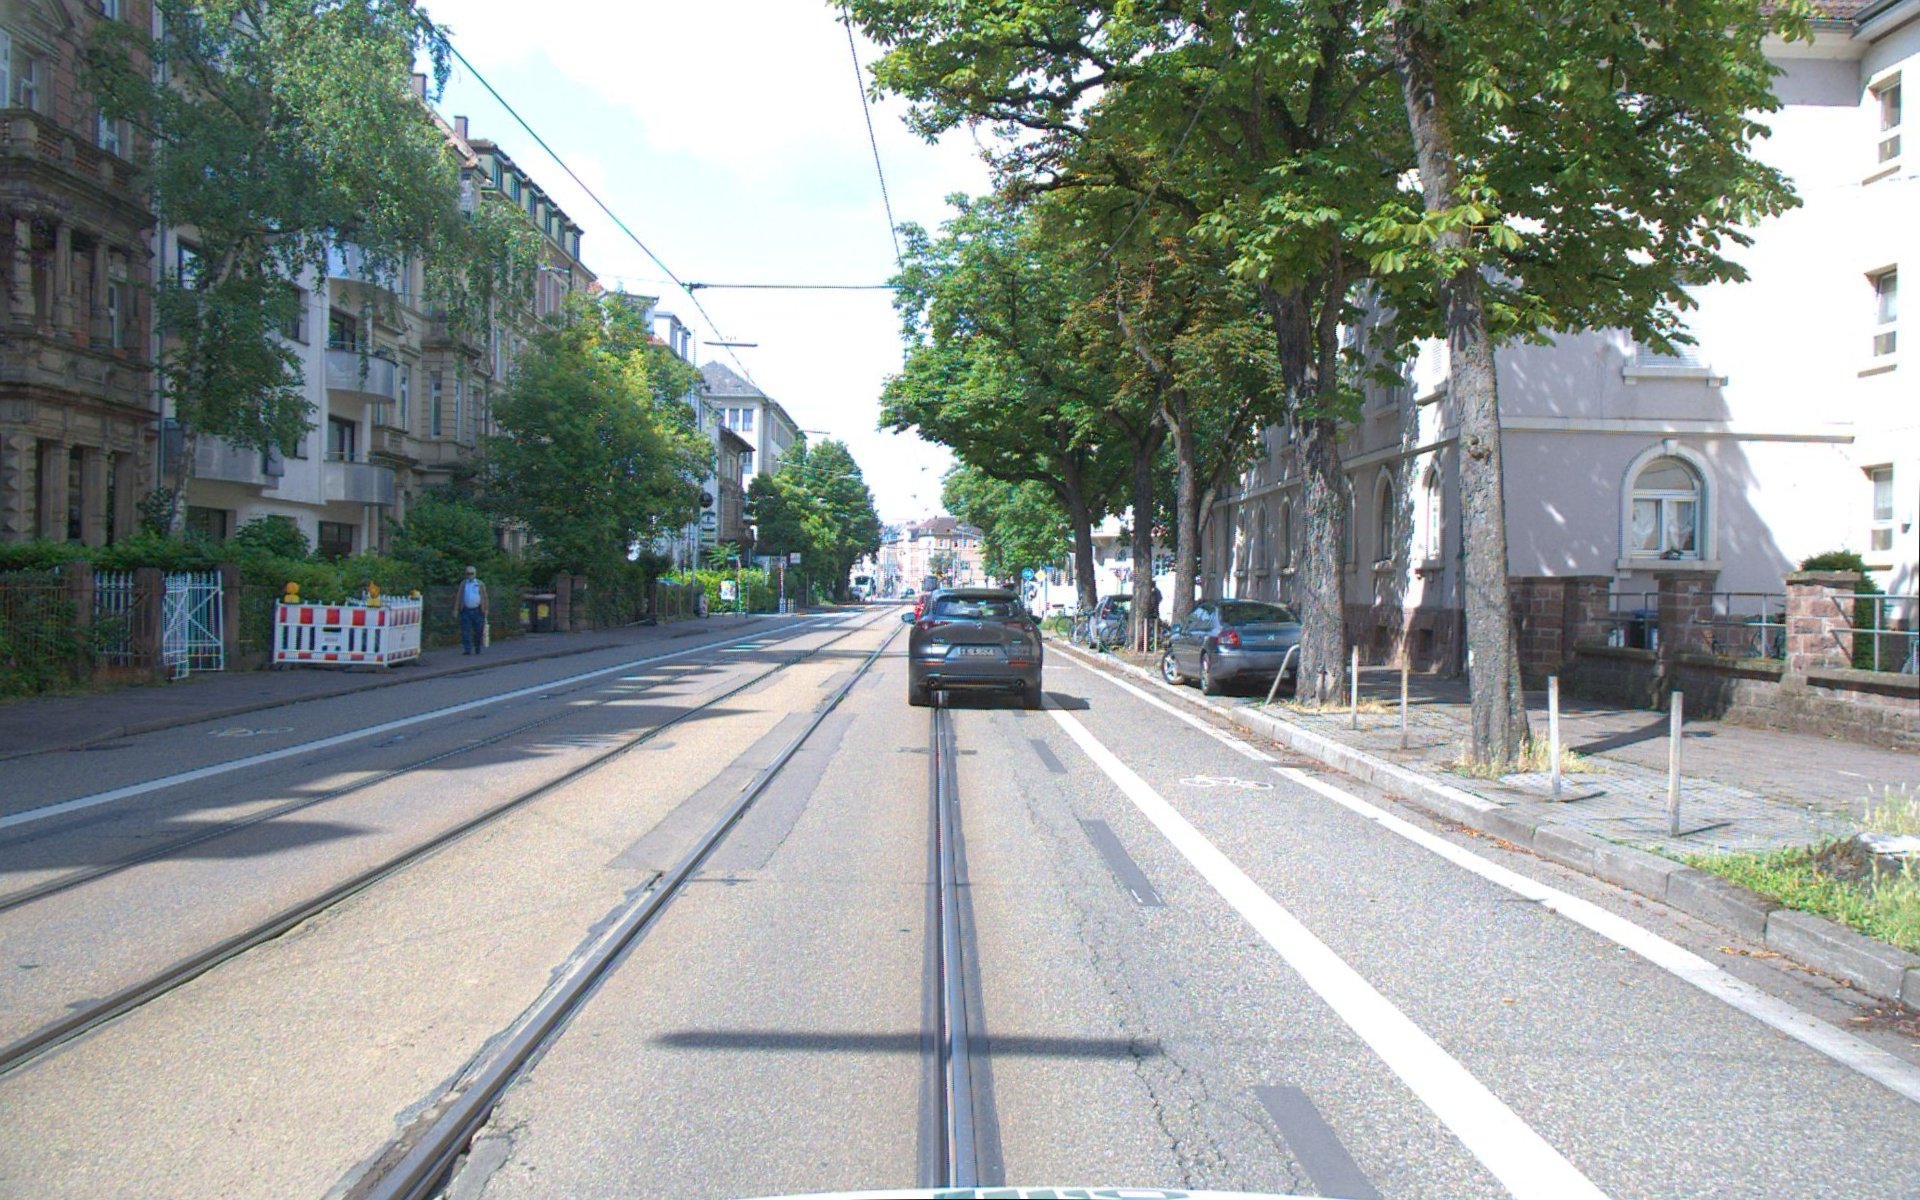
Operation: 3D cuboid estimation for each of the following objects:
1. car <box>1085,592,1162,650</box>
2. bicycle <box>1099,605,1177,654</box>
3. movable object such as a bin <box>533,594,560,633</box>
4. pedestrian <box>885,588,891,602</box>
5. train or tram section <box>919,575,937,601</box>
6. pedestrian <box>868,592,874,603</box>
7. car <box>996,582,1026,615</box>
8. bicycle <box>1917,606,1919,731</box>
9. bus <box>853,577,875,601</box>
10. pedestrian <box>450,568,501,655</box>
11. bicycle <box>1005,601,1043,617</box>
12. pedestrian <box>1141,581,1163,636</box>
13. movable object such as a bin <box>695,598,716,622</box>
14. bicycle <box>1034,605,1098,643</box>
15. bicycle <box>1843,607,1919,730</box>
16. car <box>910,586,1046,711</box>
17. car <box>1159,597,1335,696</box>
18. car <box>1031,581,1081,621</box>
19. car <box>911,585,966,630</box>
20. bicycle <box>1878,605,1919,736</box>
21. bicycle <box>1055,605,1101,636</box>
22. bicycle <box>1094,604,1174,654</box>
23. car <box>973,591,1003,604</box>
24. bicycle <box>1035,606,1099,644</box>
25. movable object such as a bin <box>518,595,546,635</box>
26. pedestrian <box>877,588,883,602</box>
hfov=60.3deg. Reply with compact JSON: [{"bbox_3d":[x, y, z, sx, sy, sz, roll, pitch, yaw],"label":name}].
[{"bbox_3d":[4.351,0.527,44.390,1.632,1.455,3.765,-1,0,-1],"label":"car"},{"bbox_3d":[4.350,0.715,40.312,1.853,1.196,0.513,0,-1,11],"label":"bicycle"},{"bbox_3d":[-11.911,0.386,47.613,0.526,1.113,0.790,1,0,4],"label":"movable object such as a bin"},{"bbox_3d":[-10.491,-0.746,240.621,0.867,2.049,0.617,1,0,-5],"label":"pedestrian"},{"bbox_3d":[-4.837,-1.823,251.610,2.519,3.838,13.024,1,0,0],"label":"train or tram section"},{"bbox_3d":[-11.643,-0.334,216.245,0.736,1.537,0.823,1,0,-5],"label":"pedestrian"},{"bbox_3d":[3.130,-0.098,102.809,1.685,2.003,4.207,1,0,0],"label":"car"},{"bbox_3d":[9.688,0.682,15.517,0.403,1.233,1.704,1,0,0],"label":"bicycle"},{"bbox_3d":[-15.199,-1.756,262.214,2.637,3.480,11.001,3,0,-7],"label":"bus"},{"bbox_3d":[-9.828,0.230,33.587,0.806,1.736,0.891,1,0,-4],"label":"pedestrian"},{"bbox_3d":[3.819,0.534,99.467,2.229,0.876,0.671,1,0,-2],"label":"bicycle"},{"bbox_3d":[6.632,0.312,57.233,0.598,1.868,0.878,1,-2,-3],"label":"pedestrian"},{"bbox_3d":[-11.432,0.439,74.259,0.730,1.005,1.114,3,0,-1],"label":"movable object such as a bin"},{"bbox_3d":[3.168,0.721,49.502,1.864,1.091,0.402,1,0,-1],"label":"bicycle"},{"bbox_3d":[9.950,0.699,17.391,0.403,1.233,1.704,1,0,0],"label":"bicycle"},{"bbox_3d":[0.187,0.600,22.587,1.686,1.553,3.588,1,0,-1],"label":"car"},{"bbox_3d":[4.567,0.690,26.972,1.810,1.434,4.391,-1,0,-4],"label":"car"},{"bbox_3d":[4.955,0.014,86.016,1.753,1.972,4.983,1,0,-7],"label":"car"},{"bbox_3d":[-0.851,0.285,62.867,1.953,1.555,3.999,3,0,-1],"label":"car"},{"bbox_3d":[9.277,0.676,15.482,0.403,1.233,1.704,1,0,0],"label":"bicycle"},{"bbox_3d":[3.843,0.675,53.899,1.460,1.000,0.259,0,0,1],"label":"bicycle"},{"bbox_3d":[4.186,0.704,39.790,1.895,1.196,0.513,0,-1,11],"label":"bicycle"},{"bbox_3d":[3.829,-0.324,227.930,3.749,1.646,1.629,3,0,-19],"label":"car"},{"bbox_3d":[3.177,0.740,49.044,1.864,1.091,0.402,1,0,-1],"label":"bicycle"},{"bbox_3d":[-12.375,0.425,47.852,0.537,1.127,0.790,1,0,4],"label":"movable object such as a bin"},{"bbox_3d":[-11.673,-0.727,240.591,0.867,2.049,0.617,1,0,-5],"label":"pedestrian"}]
